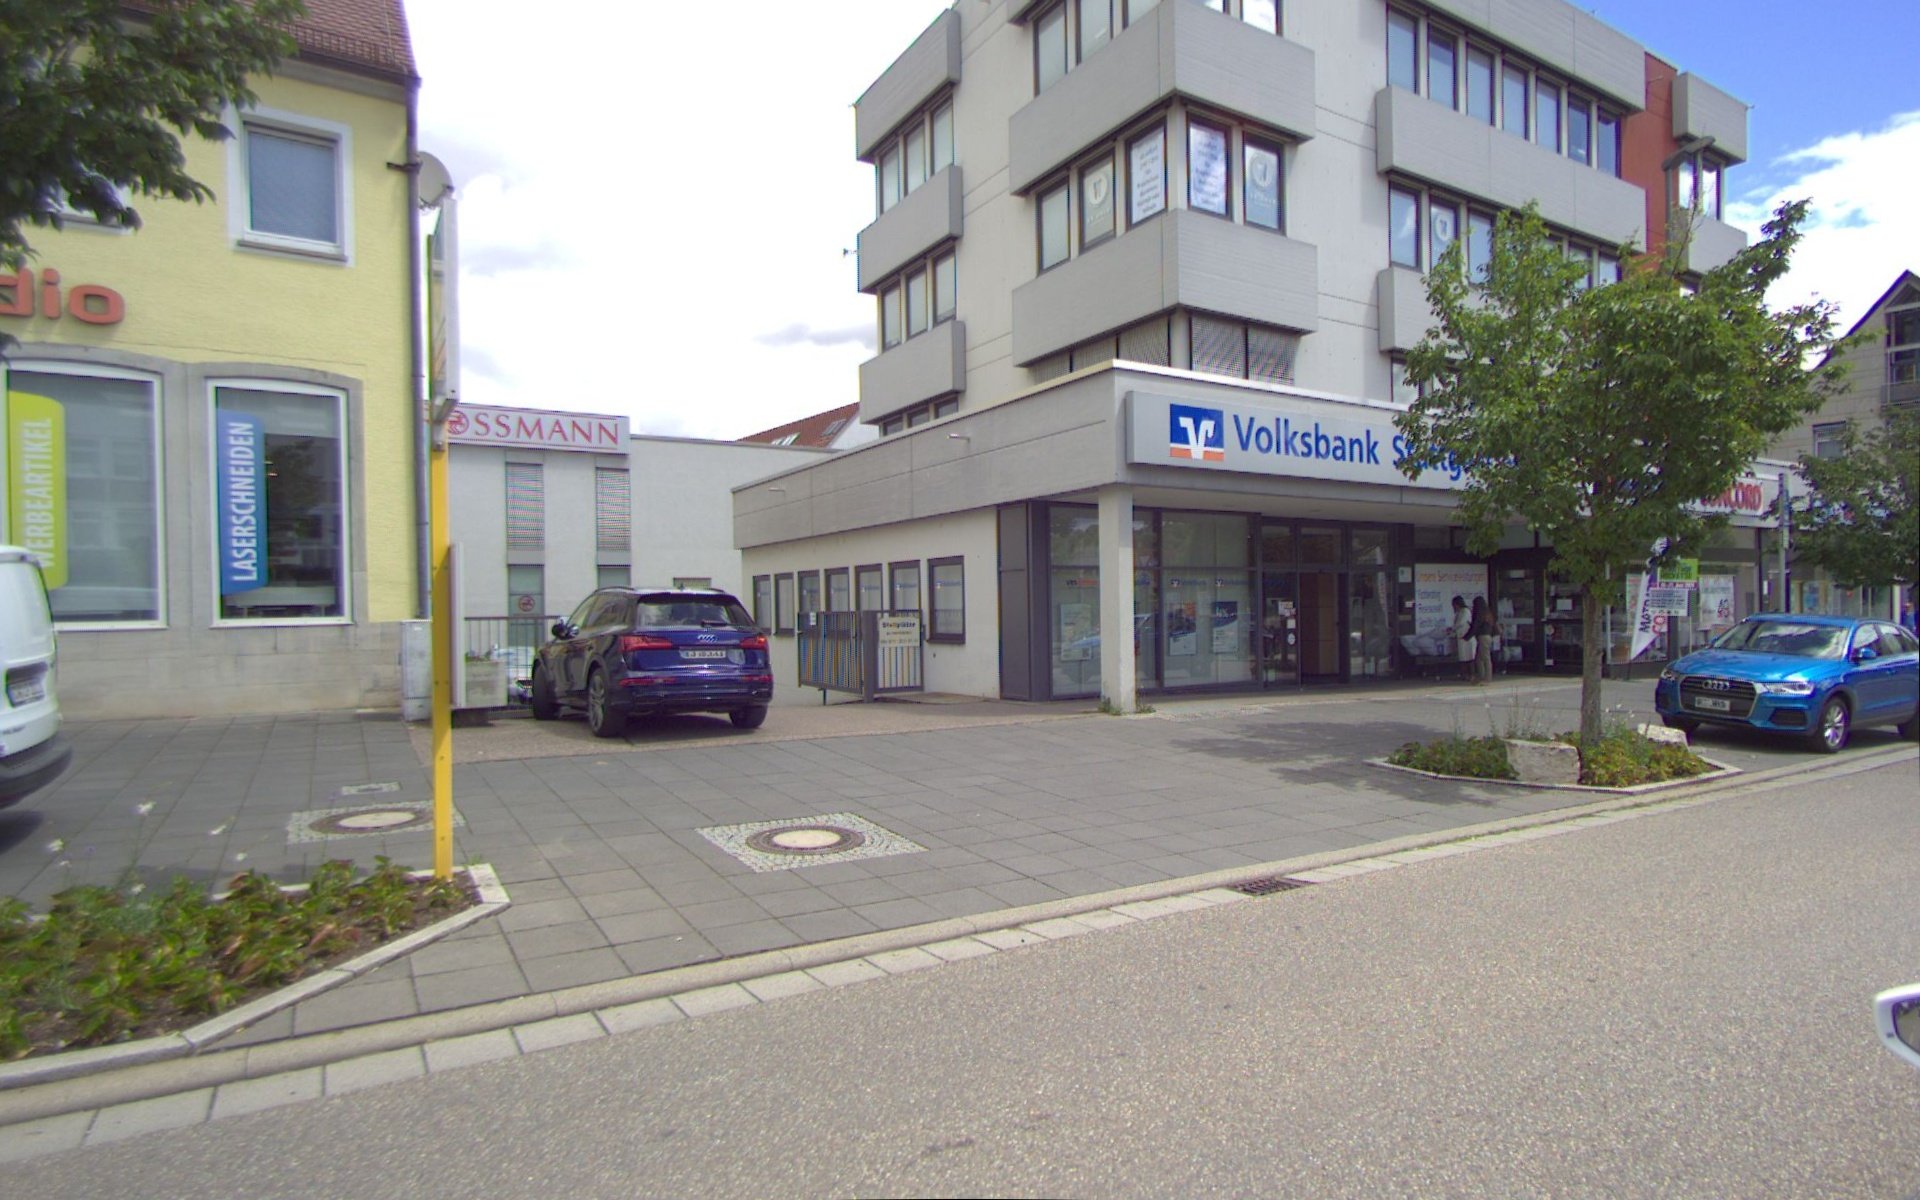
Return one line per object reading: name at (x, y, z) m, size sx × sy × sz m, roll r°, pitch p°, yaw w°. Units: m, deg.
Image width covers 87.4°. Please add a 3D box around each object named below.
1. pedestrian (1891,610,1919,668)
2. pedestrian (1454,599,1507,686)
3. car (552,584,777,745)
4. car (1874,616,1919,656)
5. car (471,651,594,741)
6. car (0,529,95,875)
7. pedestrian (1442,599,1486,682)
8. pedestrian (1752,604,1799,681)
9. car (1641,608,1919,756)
pedestrian at (27.034, 1.107, 28.638) m, size 0.558 × 1.625 × 0.605 m, roll 0°, pitch 0°, yaw 28°
pedestrian at (9.599, 0.776, 18.527) m, size 0.633 × 1.587 × 0.586 m, roll 0°, pitch -2°, yaw -7°
car at (-3.608, 0.646, 11.847) m, size 1.650 × 1.579 × 3.608 m, roll 1°, pitch 0°, yaw -31°
car at (38.186, 1.392, 39.085) m, size 3.830 × 1.551 × 1.649 m, roll -2°, pitch -2°, yaw 43°
car at (-8.233, 1.727, 19.158) m, size 1.631 × 1.427 × 3.967 m, roll 1°, pitch -2°, yaw -31°
car at (-7.304, 0.481, 4.904) m, size 4.429 × 1.838 × 1.746 m, roll 1°, pitch 0°, yaw -33°
pedestrian at (9.864, 0.793, 19.660) m, size 0.579 × 1.587 × 0.507 m, roll 1°, pitch -2°, yaw -30°
pedestrian at (17.470, 0.908, 21.521) m, size 0.631 × 1.609 × 0.584 m, roll 1°, pitch 0°, yaw -30°
car at (11.068, 0.982, 13.197) m, size 4.278 × 1.621 × 1.687 m, roll 1°, pitch 2°, yaw -29°
